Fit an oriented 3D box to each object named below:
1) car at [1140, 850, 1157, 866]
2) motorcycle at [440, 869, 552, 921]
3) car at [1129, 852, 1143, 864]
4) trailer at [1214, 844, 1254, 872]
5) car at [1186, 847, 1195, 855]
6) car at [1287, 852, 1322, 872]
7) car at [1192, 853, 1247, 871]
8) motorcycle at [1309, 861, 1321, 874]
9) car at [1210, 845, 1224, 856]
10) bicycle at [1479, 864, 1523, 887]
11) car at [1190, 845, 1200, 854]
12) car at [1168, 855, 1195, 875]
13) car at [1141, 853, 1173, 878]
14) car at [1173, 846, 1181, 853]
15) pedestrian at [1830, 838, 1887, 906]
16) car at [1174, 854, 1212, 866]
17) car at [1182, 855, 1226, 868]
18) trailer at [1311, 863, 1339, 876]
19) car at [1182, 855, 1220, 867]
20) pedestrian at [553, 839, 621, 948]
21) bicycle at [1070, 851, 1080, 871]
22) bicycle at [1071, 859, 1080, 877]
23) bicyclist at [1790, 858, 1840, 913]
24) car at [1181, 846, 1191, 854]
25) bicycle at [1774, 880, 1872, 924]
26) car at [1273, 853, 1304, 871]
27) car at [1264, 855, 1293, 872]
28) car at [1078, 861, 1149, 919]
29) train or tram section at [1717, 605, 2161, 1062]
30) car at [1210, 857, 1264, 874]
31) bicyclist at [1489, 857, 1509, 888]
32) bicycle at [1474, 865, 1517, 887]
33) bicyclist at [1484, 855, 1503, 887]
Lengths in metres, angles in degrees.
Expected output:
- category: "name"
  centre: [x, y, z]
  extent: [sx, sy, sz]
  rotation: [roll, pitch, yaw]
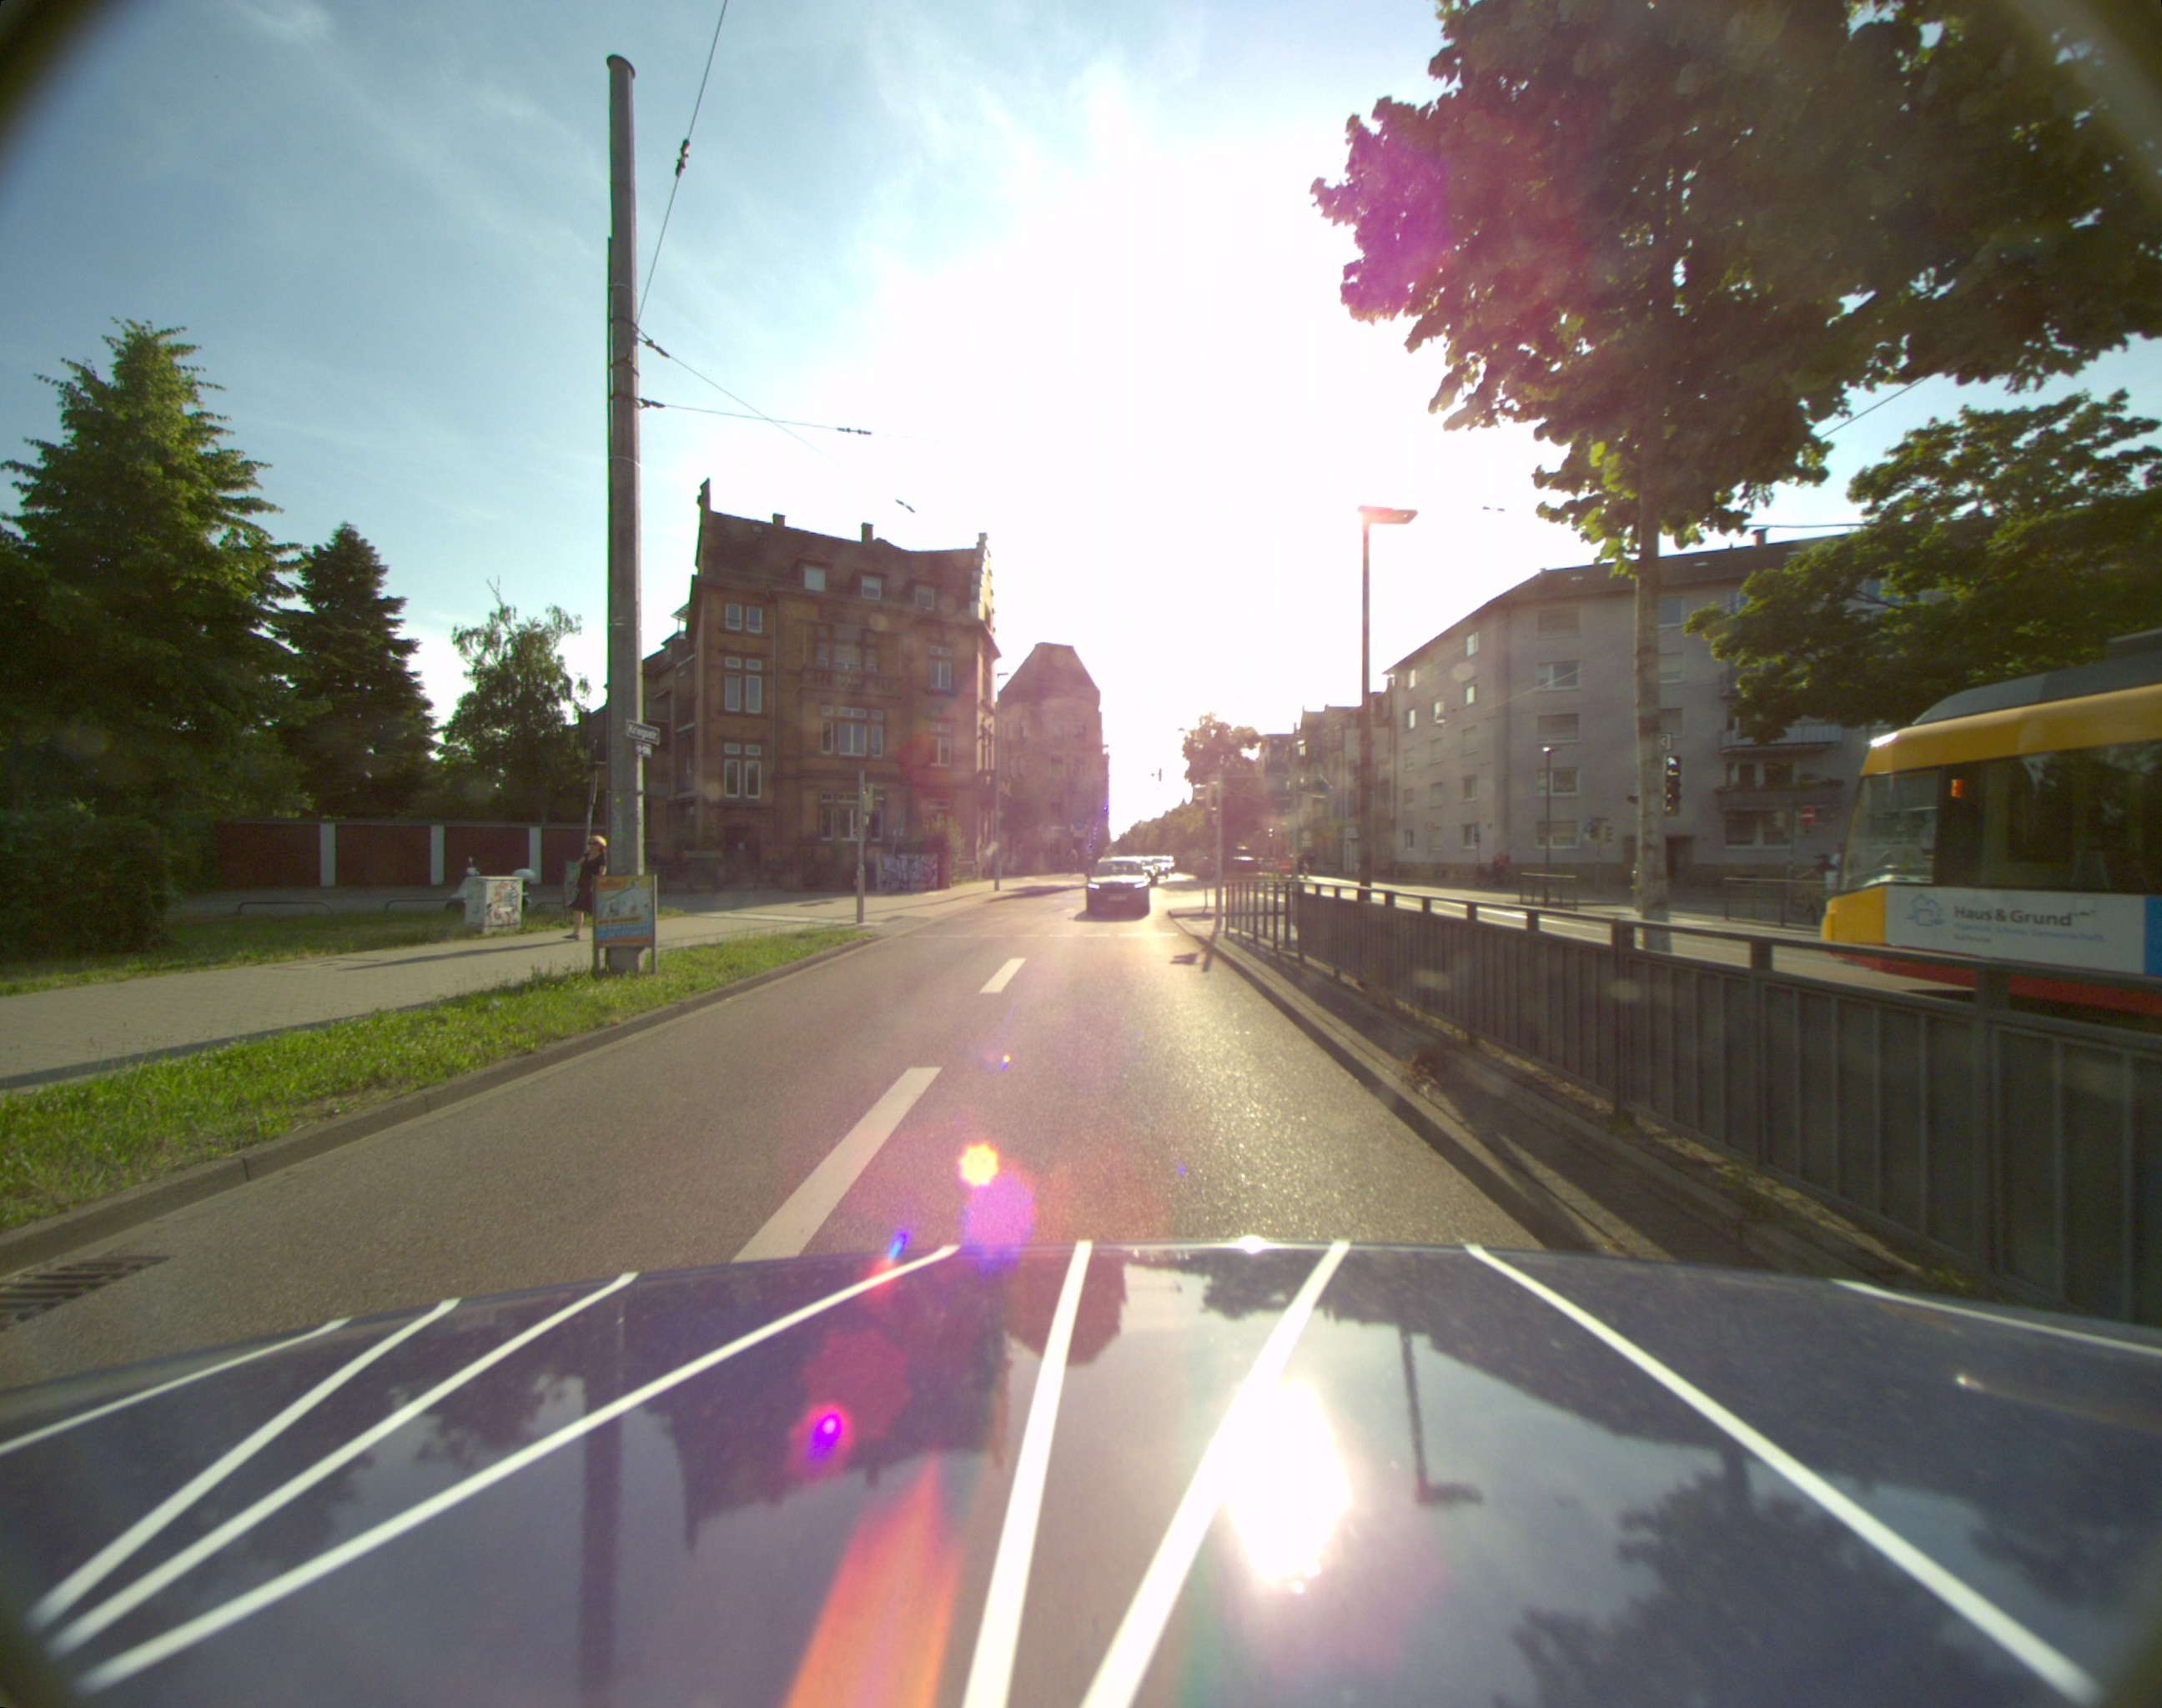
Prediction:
- category: "car"
  centre: [8.565, 0.462, 96.554]
  extent: [1.998, 2.002, 4.000]
  rotation: [0, 0, 2]
- category: "motorcycle"
  centre: [-13.610, 0.951, 17.707]
  extent: [2.002, 1.153, 0.708]
  rotation: [-1, 0, -3]
- category: "car"
  centre: [8.769, 0.618, 121.199]
  extent: [1.998, 2.002, 4.000]
  rotation: [0, 0, 2]
- category: "trailer"
  centre: [13.038, 0.364, 64.749]
  extent: [2.858, 2.378, 1.726]
  rotation: [-1, 0, 34]
- category: "car"
  centre: [25.848, -0.691, 179.034]
  extent: [1.998, 2.002, 4.002]
  rotation: [-1, 0, 6]
- category: "car"
  centre: [20.585, 0.753, 70.140]
  extent: [2.170, 1.739, 4.720]
  rotation: [-1, 0, 4]
- category: "car"
  centre: [13.218, 0.759, 72.748]
  extent: [4.704, 1.680, 2.177]
  rotation: [0, 0, 44]
- category: "motorcycle"
  centre: [20.391, 1.144, 66.205]
  extent: [0.636, 1.074, 1.737]
  rotation: [-1, 0, 27]
- category: "car"
  centre: [24.474, -0.565, 136.704]
  extent: [1.998, 2.002, 4.001]
  rotation: [-1, 0, 3]
- category: "bicycle"
  centre: [22.566, 1.150, 40.863]
  extent: [1.976, 1.196, 0.736]
  rotation: [-1, 0, 23]
- category: "car"
  centre: [25.168, -0.968, 167.528]
  extent: [1.998, 2.002, 4.002]
  rotation: [-1, 0, 6]
- category: "car"
  centre: [7.950, 0.844, 60.165]
  extent: [1.997, 1.564, 4.002]
  rotation: [-1, 0, 7]
- category: "car"
  centre: [5.059, 0.755, 50.343]
  extent: [1.997, 1.564, 4.002]
  rotation: [-1, 0, 7]
- category: "car"
  centre: [26.899, -1.179, 212.859]
  extent: [1.998, 2.002, 4.000]
  rotation: [-1, 0, 2]
- category: "pedestrian"
  centre: [22.324, 0.507, 21.831]
  extent: [1.006, 1.898, 0.707]
  rotation: [-1, 1, -11]
- category: "car"
  centre: [14.297, 0.742, 96.953]
  extent: [4.259, 1.414, 2.177]
  rotation: [-1, 0, 44]
- category: "car"
  centre: [13.387, 0.818, 82.724]
  extent: [4.294, 1.414, 1.963]
  rotation: [-1, 0, 44]
- category: "trailer"
  centre: [20.459, 1.279, 63.811]
  extent: [1.444, 0.891, 2.880]
  rotation: [-5, 0, 2]
- category: "car"
  centre: [14.139, 0.819, 89.815]
  extent: [4.259, 1.414, 1.685]
  rotation: [-1, 0, 44]
- category: "pedestrian"
  centre: [-8.042, 0.625, 12.377]
  extent: [0.616, 1.682, 0.549]
  rotation: [5, 1, 6]
- category: "bicycle"
  centre: [-0.406, 0.466, 51.330]
  extent: [0.575, 1.290, 0.688]
  rotation: [-1, 0, -5]
- category: "bicycle"
  centre: [-0.392, 0.928, 51.336]
  extent: [0.484, 1.183, 1.338]
  rotation: [-1, 0, -5]
- category: "bicyclist"
  centre: [19.308, 0.812, 20.001]
  extent: [0.652, 1.405, 0.717]
  rotation: [-1, 0, 5]
- category: "car"
  centre: [26.509, -0.898, 191.372]
  extent: [1.998, 2.002, 4.000]
  rotation: [-1, 0, 2]
- category: "bicycle"
  centre: [19.356, 1.225, 19.892]
  extent: [0.543, 1.012, 2.251]
  rotation: [-1, 0, 5]
- category: "car"
  centre: [20.907, 0.780, 76.812]
  extent: [2.170, 1.739, 4.612]
  rotation: [-1, 0, 4]
- category: "car"
  centre: [21.283, 1.025, 82.003]
  extent: [2.170, 1.739, 4.612]
  rotation: [-1, 0, 4]
- category: "car"
  centre: [0.987, 0.945, 21.755]
  extent: [1.839, 1.472, 4.001]
  rotation: [0, 0, 4]
- category: "train or tram section"
  centre: [9.692, -0.184, 2.583]
  extent: [3.169, 3.459, 14.534]
  rotation: [-1, 0, 1]
- category: "car"
  centre: [12.602, 0.913, 61.477]
  extent: [3.941, 1.352, 1.676]
  rotation: [1, 0, 36]
- category: "bicyclist"
  centre: [22.472, 0.981, 40.851]
  extent: [0.851, 1.632, 0.815]
  rotation: [-1, 0, 22]
- category: "bicycle"
  centre: [21.833, 1.133, 40.022]
  extent: [1.912, 1.104, 0.736]
  rotation: [1, 0, 23]
- category: "bicyclist"
  centre: [21.712, 0.879, 40.021]
  extent: [0.771, 1.633, 0.796]
  rotation: [1, 1, 23]
